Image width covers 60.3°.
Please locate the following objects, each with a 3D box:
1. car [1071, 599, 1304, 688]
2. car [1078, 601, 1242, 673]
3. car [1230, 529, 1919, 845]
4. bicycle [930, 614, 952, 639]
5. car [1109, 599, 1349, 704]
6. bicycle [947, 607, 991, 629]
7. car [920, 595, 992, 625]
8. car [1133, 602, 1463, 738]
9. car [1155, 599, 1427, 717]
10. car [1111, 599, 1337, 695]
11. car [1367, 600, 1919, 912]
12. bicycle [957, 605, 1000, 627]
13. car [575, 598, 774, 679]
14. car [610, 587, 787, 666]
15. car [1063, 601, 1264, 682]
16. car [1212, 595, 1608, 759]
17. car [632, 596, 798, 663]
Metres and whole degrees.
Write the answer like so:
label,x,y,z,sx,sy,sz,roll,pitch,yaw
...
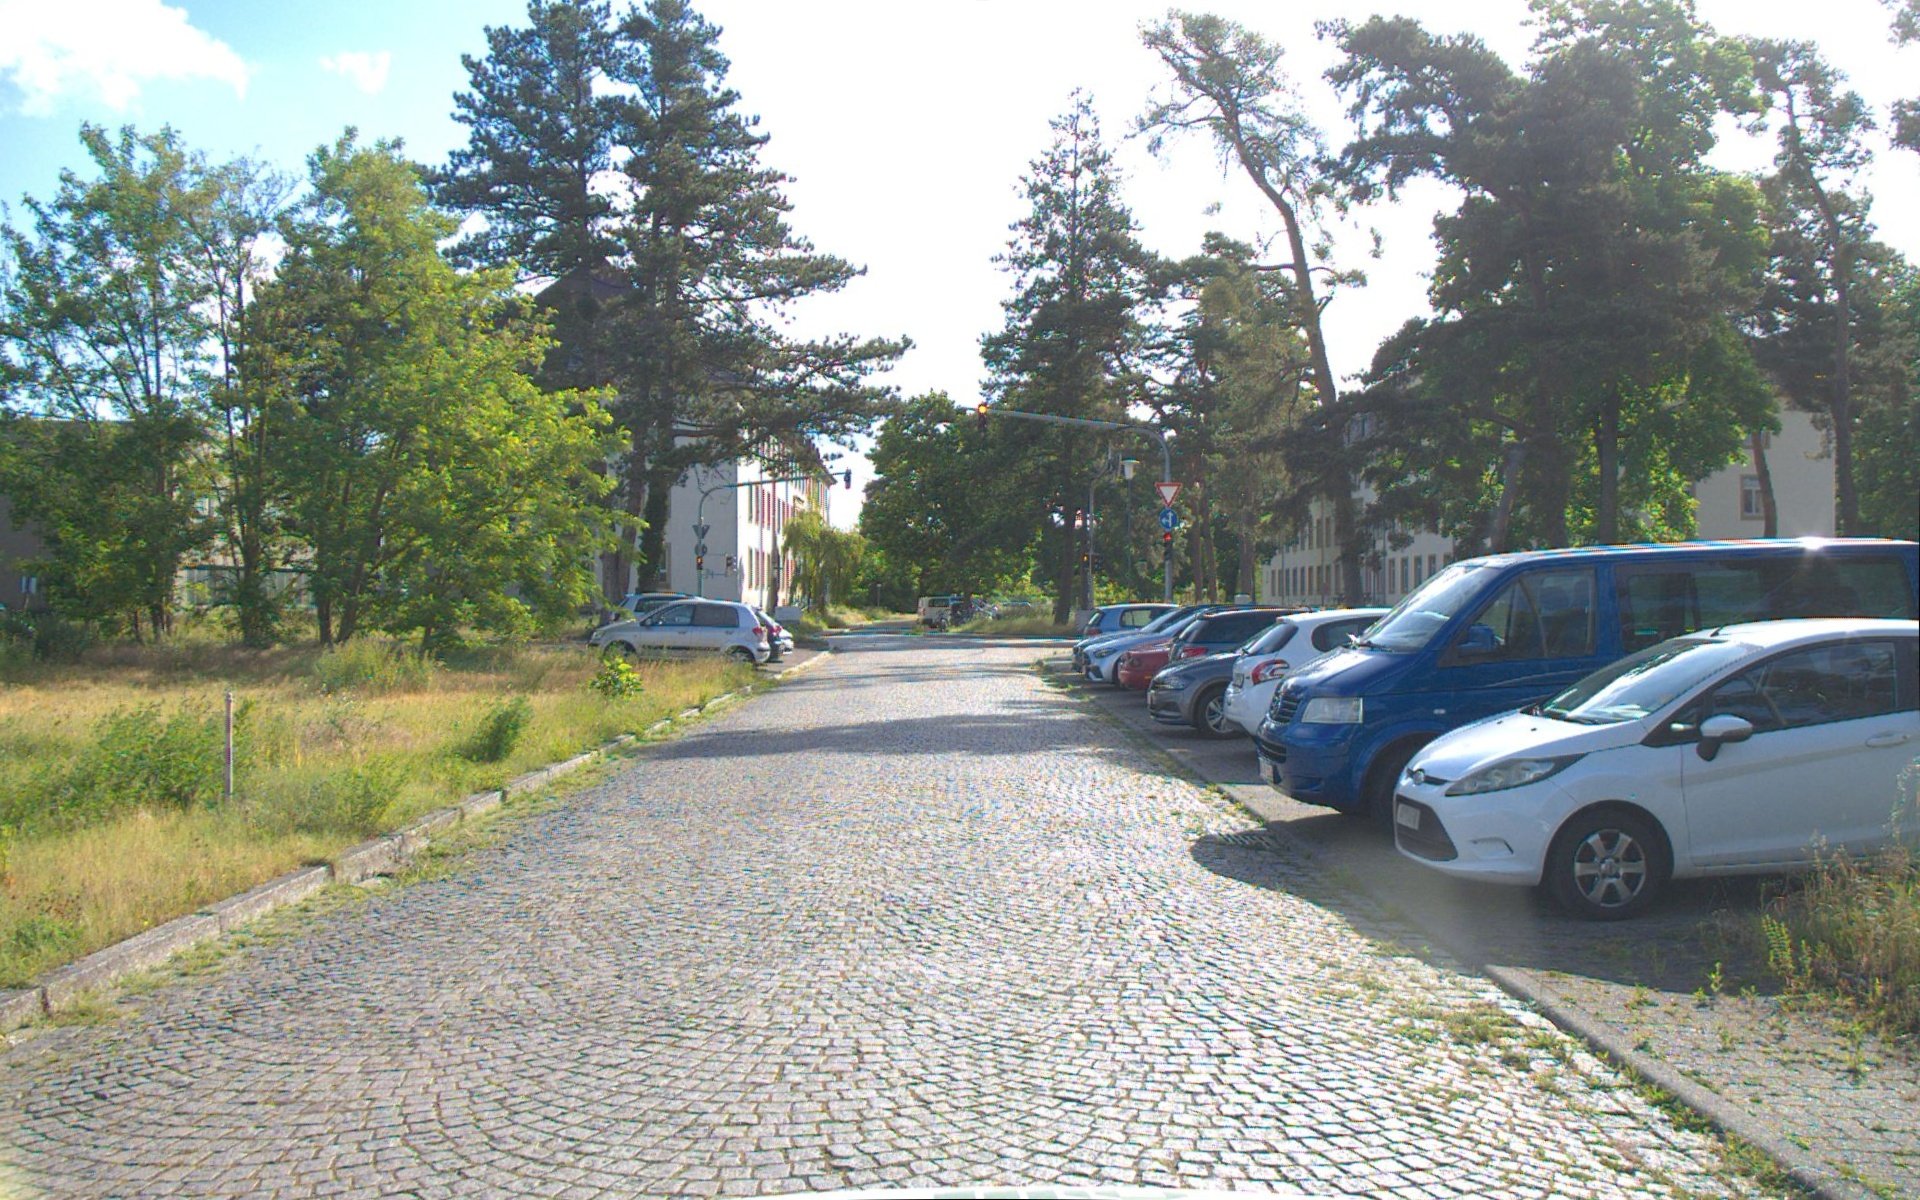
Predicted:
label,x,y,z,sx,sy,sz,roll,pitch,yaw
car,4.099,0.773,30.149,3.955,1.556,1.644,0,0,-5
car,4.265,0.772,35.564,3.276,1.508,1.645,0,0,-2
car,4.447,0.555,11.941,4.584,2.049,2.082,0,0,-4
bicycle,-0.942,1.297,81.003,0.789,1.190,2.177,-2,0,-7
car,4.112,0.773,25.610,3.408,1.556,1.645,0,0,-2
bicycle,0.478,0.925,84.491,2.134,1.119,0.805,1,0,-11
car,-0.273,0.622,101.951,4.390,1.758,1.999,1,0,-2
car,4.013,0.807,19.998,3.601,1.493,1.645,-1,0,-2
car,4.526,0.775,22.925,3.408,1.556,1.645,0,0,-2
car,4.414,0.773,27.973,3.530,1.556,1.645,0,0,-2
car,4.322,0.783,9.259,3.645,1.514,1.644,-1,0,-3
bicycle,0.963,0.852,85.758,2.134,1.119,0.805,1,0,-11
car,-5.905,0.771,34.612,3.908,1.628,1.999,0,0,-4
car,-6.261,0.625,39.996,3.907,1.629,1.999,3,0,-2
car,4.007,0.796,32.919,3.758,1.556,1.645,0,0,-2
car,4.563,0.758,17.120,3.619,1.491,1.645,-2,0,0
car,-6.228,0.728,42.397,3.906,1.478,1.999,3,0,-2
